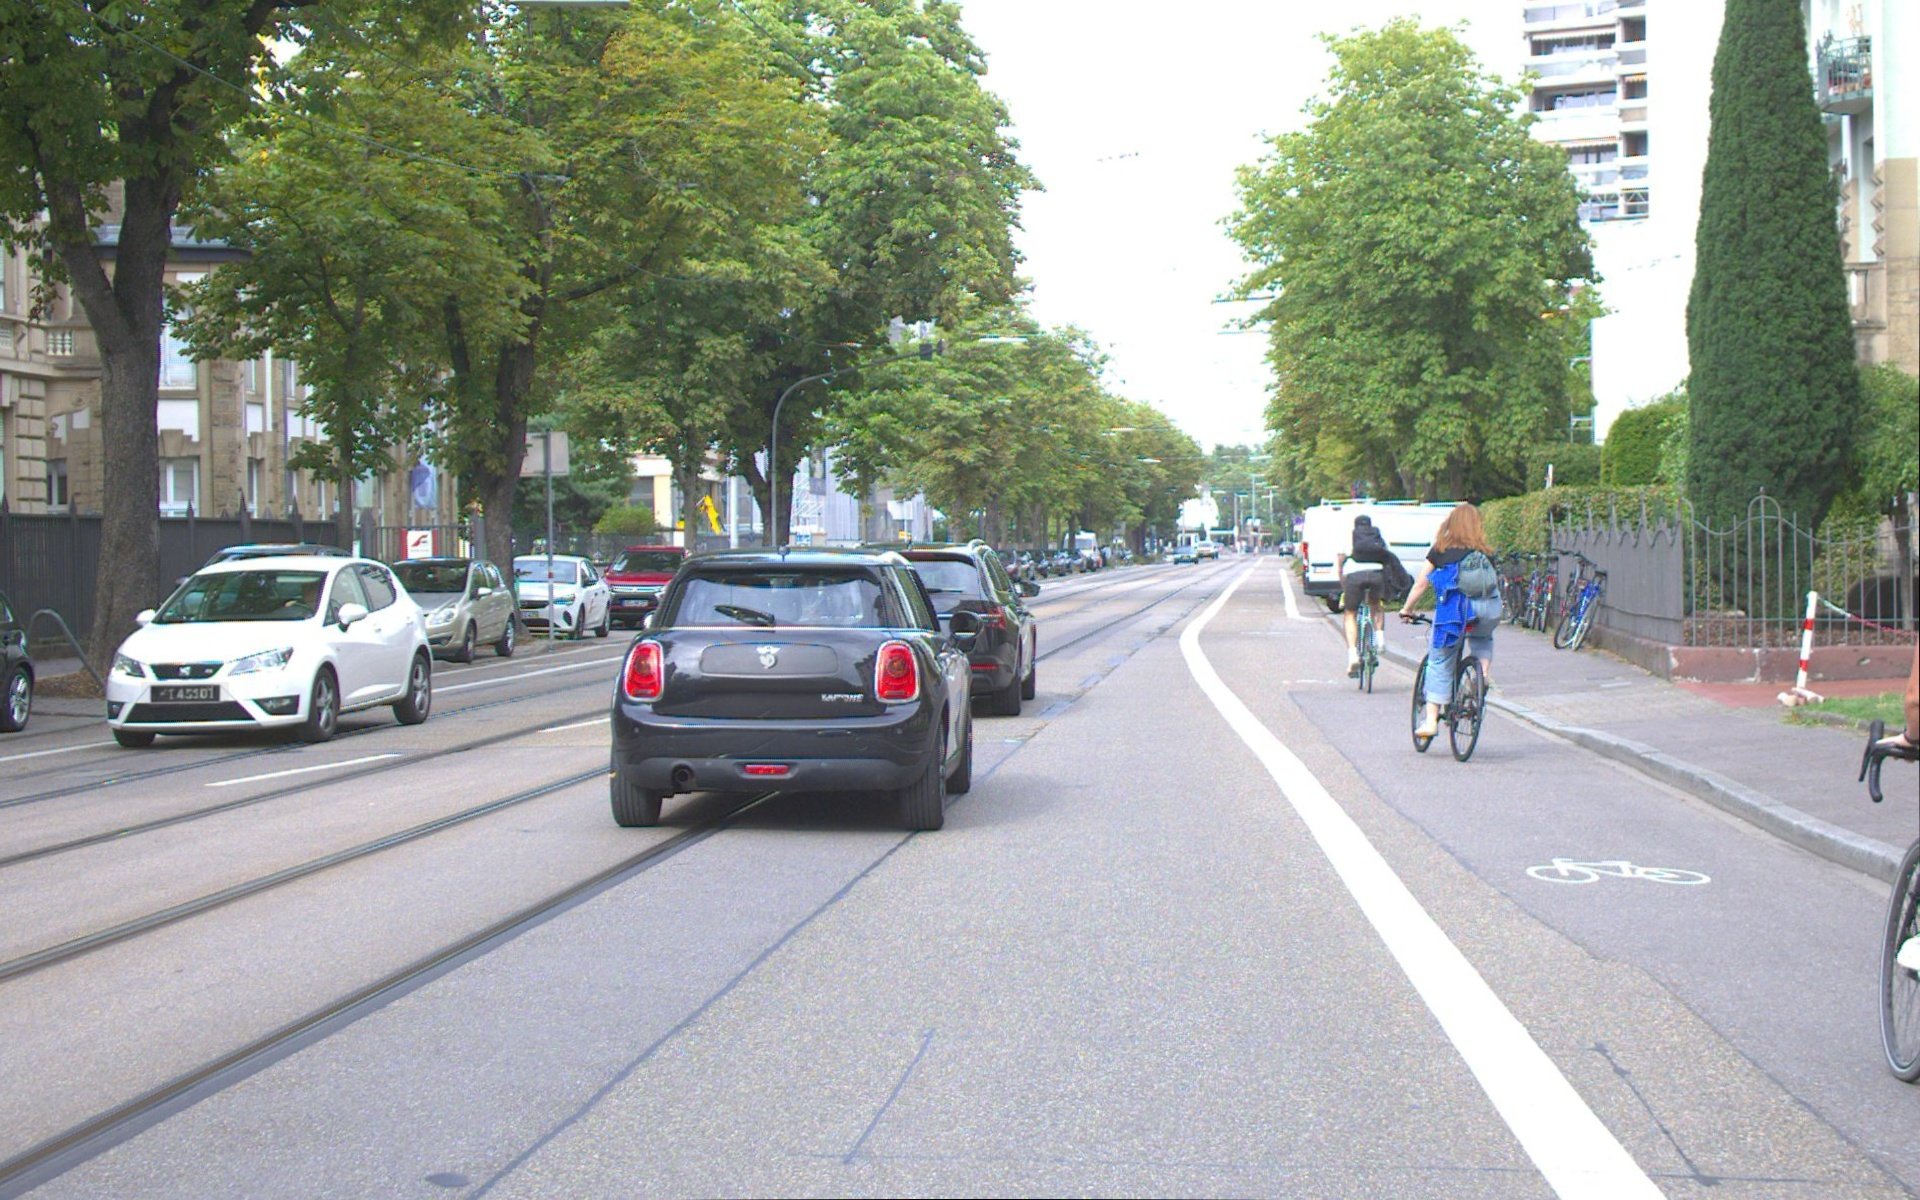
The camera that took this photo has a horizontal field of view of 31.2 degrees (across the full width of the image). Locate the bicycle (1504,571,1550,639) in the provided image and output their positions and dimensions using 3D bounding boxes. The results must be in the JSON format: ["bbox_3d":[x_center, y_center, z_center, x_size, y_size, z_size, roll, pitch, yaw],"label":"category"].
[{"bbox_3d":[7.849,0.064,47.626,0.486,0.904,1.665,-2,0,6],"label":"bicycle"}]

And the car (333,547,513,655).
[{"bbox_3d":[-7.601,-0.014,48.971,1.601,1.463,4.078,0,1,5],"label":"car"}]

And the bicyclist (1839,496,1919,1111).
[{"bbox_3d":[2.787,0.514,9.174,0.638,1.565,1.110,0,1,3],"label":"bicyclist"}]

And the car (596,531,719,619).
[{"bbox_3d":[-6.007,-0.505,68.724,1.721,1.649,4.542,1,1,4],"label":"car"}]

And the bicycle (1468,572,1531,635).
[{"bbox_3d":[8.045,0.054,51.321,0.485,0.904,1.665,-2,0,-6],"label":"bicycle"}]

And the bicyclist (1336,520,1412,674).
[{"bbox_3d":[3.986,-0.034,33.159,0.657,1.458,1.178,0,1,4],"label":"bicyclist"}]

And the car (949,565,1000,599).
[{"bbox_3d":[0.631,-0.757,143.505,1.803,1.369,4.030,-2,0,5],"label":"car"}]

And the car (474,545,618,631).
[{"bbox_3d":[-7.188,-0.224,59.976,1.721,1.419,4.023,1,1,4],"label":"car"}]

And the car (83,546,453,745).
[{"bbox_3d":[-5.468,0.311,27.650,1.571,1.411,3.999,-3,1,9],"label":"car"}]

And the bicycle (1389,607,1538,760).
[{"bbox_3d":[3.394,0.544,23.314,0.688,0.959,2.036,1,1,0],"label":"bicycle"}]

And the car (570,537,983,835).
[{"bbox_3d":[-0.884,0.396,18.774,1.793,1.418,4.000,1,1,3],"label":"car"}]

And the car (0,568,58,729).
[{"bbox_3d":[-9.494,0.429,29.945,1.720,1.420,4.165,2,1,7],"label":"car"}]

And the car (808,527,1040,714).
[{"bbox_3d":[-0.243,0.141,29.612,1.793,1.465,4.000,1,1,2],"label":"car"}]

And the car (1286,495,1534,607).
[{"bbox_3d":[9.488,-1.016,72.351,4.944,2.282,2.384,0,0,-37],"label":"car"}]

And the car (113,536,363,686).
[{"bbox_3d":[-8.461,0.094,40.650,1.710,1.668,4.356,0,1,5],"label":"car"}]

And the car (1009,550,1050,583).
[{"bbox_3d":[3.505,-1.701,173.503,1.803,1.578,4.030,-2,0,5],"label":"car"}]

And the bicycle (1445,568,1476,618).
[{"bbox_3d":[9.302,-0.126,63.946,0.386,0.904,1.842,-2,0,3],"label":"bicycle"}]

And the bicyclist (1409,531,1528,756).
[{"bbox_3d":[3.386,0.278,22.926,0.647,1.465,0.801,-1,1,-1],"label":"bicyclist"}]

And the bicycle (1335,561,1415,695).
[{"bbox_3d":[3.985,0.247,33.123,0.657,1.244,2.124,0,1,4],"label":"bicycle"}]

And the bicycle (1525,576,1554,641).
[{"bbox_3d":[7.723,0.115,45.818,0.278,0.849,1.198,-2,0,6],"label":"bicycle"}]

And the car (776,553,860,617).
[{"bbox_3d":[-3.772,-0.416,91.677,1.756,1.641,4.051,0,1,5],"label":"car"}]

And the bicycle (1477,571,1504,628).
[{"bbox_3d":[8.602,-0.008,55.718,0.386,0.904,1.664,-2,0,10],"label":"bicycle"}]

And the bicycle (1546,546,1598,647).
[{"bbox_3d":[6.919,-0.053,38.931,0.391,1.099,1.759,-2,1,5],"label":"bicycle"}]

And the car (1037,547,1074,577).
[{"bbox_3d":[5.349,-2.113,192.605,1.803,1.578,4.030,-2,0,5],"label":"car"}]

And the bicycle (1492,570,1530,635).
[{"bbox_3d":[7.914,0.035,49.413,0.486,0.904,1.664,-2,0,8],"label":"bicycle"}]

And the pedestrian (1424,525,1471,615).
[{"bbox_3d":[9.578,-0.591,67.577,0.785,1.727,0.896,-3,0,5],"label":"pedestrian"}]

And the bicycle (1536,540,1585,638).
[{"bbox_3d":[7.264,-0.143,41.624,0.391,1.138,1.920,-2,1,5],"label":"bicycle"}]

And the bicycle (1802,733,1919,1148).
[{"bbox_3d":[2.789,0.901,9.238,0.638,0.977,2.071,0,1,3],"label":"bicycle"}]
